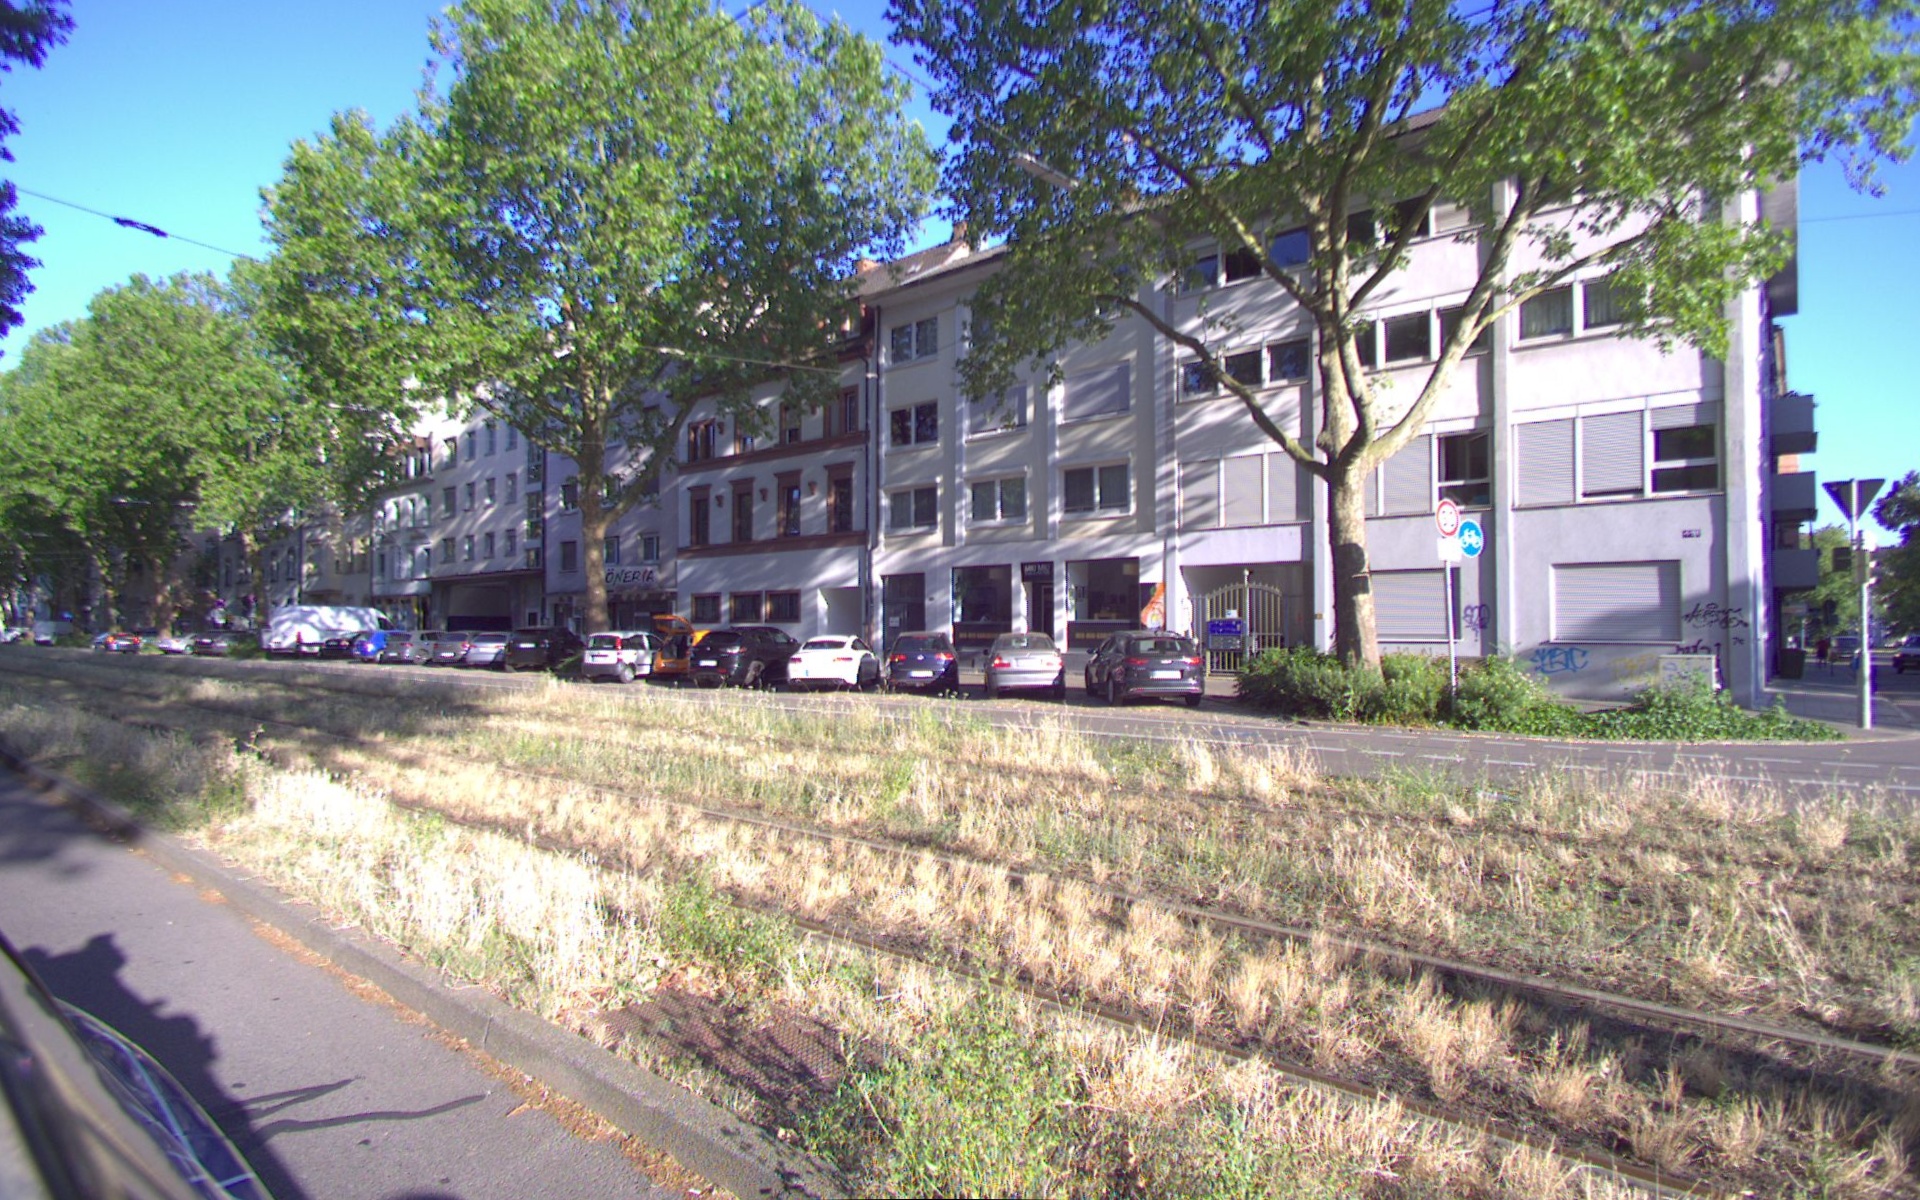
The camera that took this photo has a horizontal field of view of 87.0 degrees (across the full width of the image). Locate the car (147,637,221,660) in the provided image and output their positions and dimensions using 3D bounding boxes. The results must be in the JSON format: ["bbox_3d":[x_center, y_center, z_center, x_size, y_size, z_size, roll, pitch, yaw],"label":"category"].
[{"bbox_3d":[-51.273,3.192,66.975,1.806,1.400,3.670,-1,-2,9],"label":"car"}]

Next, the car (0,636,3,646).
[{"bbox_3d":[-141.494,5.966,147.910,3.999,1.431,1.972,-1,0,43],"label":"car"}]

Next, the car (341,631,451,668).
[{"bbox_3d":[-25.459,2.192,45.796,1.854,1.431,3.951,-1,0,36],"label":"car"}]

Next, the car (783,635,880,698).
[{"bbox_3d":[-3.245,1.666,26.287,1.700,1.343,4.200,-1,0,4],"label":"car"}]

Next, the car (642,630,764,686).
[{"bbox_3d":[-7.881,1.743,31.396,1.764,1.490,3.974,-1,0,20],"label":"car"}]

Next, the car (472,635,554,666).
[{"bbox_3d":[-25.867,2.906,58.646,1.904,1.733,3.947,-1,-3,39],"label":"car"}]

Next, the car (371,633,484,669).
[{"bbox_3d":[-23.110,2.201,44.049,1.941,1.503,3.963,-1,-2,27],"label":"car"}]

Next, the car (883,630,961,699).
[{"bbox_3d":[-0.966,1.542,25.279,1.776,1.452,4.002,-1,0,-2],"label":"car"}]

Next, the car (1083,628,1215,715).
[{"bbox_3d":[3.766,1.390,20.881,1.791,1.490,4.002,-1,0,-2],"label":"car"}]

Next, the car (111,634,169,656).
[{"bbox_3d":[-62.988,3.470,77.849,1.703,1.666,4.008,-1,-2,-10],"label":"car"}]

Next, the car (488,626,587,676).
[{"bbox_3d":[-15.198,1.796,36.626,1.972,1.673,4.000,-1,-1,-1],"label":"car"}]

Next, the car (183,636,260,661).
[{"bbox_3d":[-47.218,3.130,64.805,1.803,1.545,3.994,0,-4,4],"label":"car"}]

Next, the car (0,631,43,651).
[{"bbox_3d":[-106.826,4.668,114.829,1.971,2.029,4.002,-1,0,-2],"label":"car"}]

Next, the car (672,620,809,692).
[{"bbox_3d":[-5.983,1.568,28.206,1.975,1.800,4.343,1,-3,14],"label":"car"}]

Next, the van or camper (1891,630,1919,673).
[{"bbox_3d":[48.073,2.495,49.240,5.046,2.029,2.006,1,-2,-21],"label":"van or camper"}]

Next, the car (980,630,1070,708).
[{"bbox_3d":[1.372,1.489,22.872,1.698,1.452,4.000,-1,0,-1],"label":"car"}]

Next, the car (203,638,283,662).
[{"bbox_3d":[-42.495,2.953,60.072,1.778,1.368,4.002,0,-3,3],"label":"car"}]

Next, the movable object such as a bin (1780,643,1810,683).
[{"bbox_3d":[28.309,2.129,34.310,0.745,1.315,0.861,-2,-3,39],"label":"movable object such as a bin"}]

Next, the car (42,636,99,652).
[{"bbox_3d":[-85.477,4.191,97.347,1.709,1.256,3.993,-1,1,6],"label":"car"}]

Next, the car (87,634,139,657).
[{"bbox_3d":[-56.069,3.006,66.984,4.480,1.400,1.802,-2,-5,40],"label":"car"}]

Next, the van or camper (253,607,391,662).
[{"bbox_3d":[-32.614,1.784,51.992,2.162,2.666,5.929,-1,-2,20],"label":"van or camper"}]

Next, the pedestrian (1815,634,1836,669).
[{"bbox_3d":[43.111,2.557,50.415,0.687,1.764,0.635,-2,-2,37],"label":"pedestrian"}]

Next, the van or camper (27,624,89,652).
[{"bbox_3d":[-87.783,3.666,98.554,2.171,2.418,4.364,-1,1,0],"label":"van or camper"}]

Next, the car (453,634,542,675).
[{"bbox_3d":[-17.814,2.060,39.211,1.883,1.396,4.004,-1,-1,-5],"label":"car"}]

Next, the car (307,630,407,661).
[{"bbox_3d":[-30.248,2.288,50.879,1.984,1.502,3.975,-1,-3,18],"label":"car"}]

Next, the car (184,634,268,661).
[{"bbox_3d":[-45.022,2.938,62.176,1.912,1.605,4.155,0,-4,4],"label":"car"}]

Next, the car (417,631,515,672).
[{"bbox_3d":[-20.050,2.050,41.279,1.735,1.433,3.993,-1,0,6],"label":"car"}]

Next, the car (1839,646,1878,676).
[{"bbox_3d":[63.882,4.316,71.997,1.999,2.029,3.945,-2,-3,41],"label":"car"}]

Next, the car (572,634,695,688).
[{"bbox_3d":[-9.982,1.817,31.298,1.643,1.460,4.344,-1,-1,14],"label":"car"}]
